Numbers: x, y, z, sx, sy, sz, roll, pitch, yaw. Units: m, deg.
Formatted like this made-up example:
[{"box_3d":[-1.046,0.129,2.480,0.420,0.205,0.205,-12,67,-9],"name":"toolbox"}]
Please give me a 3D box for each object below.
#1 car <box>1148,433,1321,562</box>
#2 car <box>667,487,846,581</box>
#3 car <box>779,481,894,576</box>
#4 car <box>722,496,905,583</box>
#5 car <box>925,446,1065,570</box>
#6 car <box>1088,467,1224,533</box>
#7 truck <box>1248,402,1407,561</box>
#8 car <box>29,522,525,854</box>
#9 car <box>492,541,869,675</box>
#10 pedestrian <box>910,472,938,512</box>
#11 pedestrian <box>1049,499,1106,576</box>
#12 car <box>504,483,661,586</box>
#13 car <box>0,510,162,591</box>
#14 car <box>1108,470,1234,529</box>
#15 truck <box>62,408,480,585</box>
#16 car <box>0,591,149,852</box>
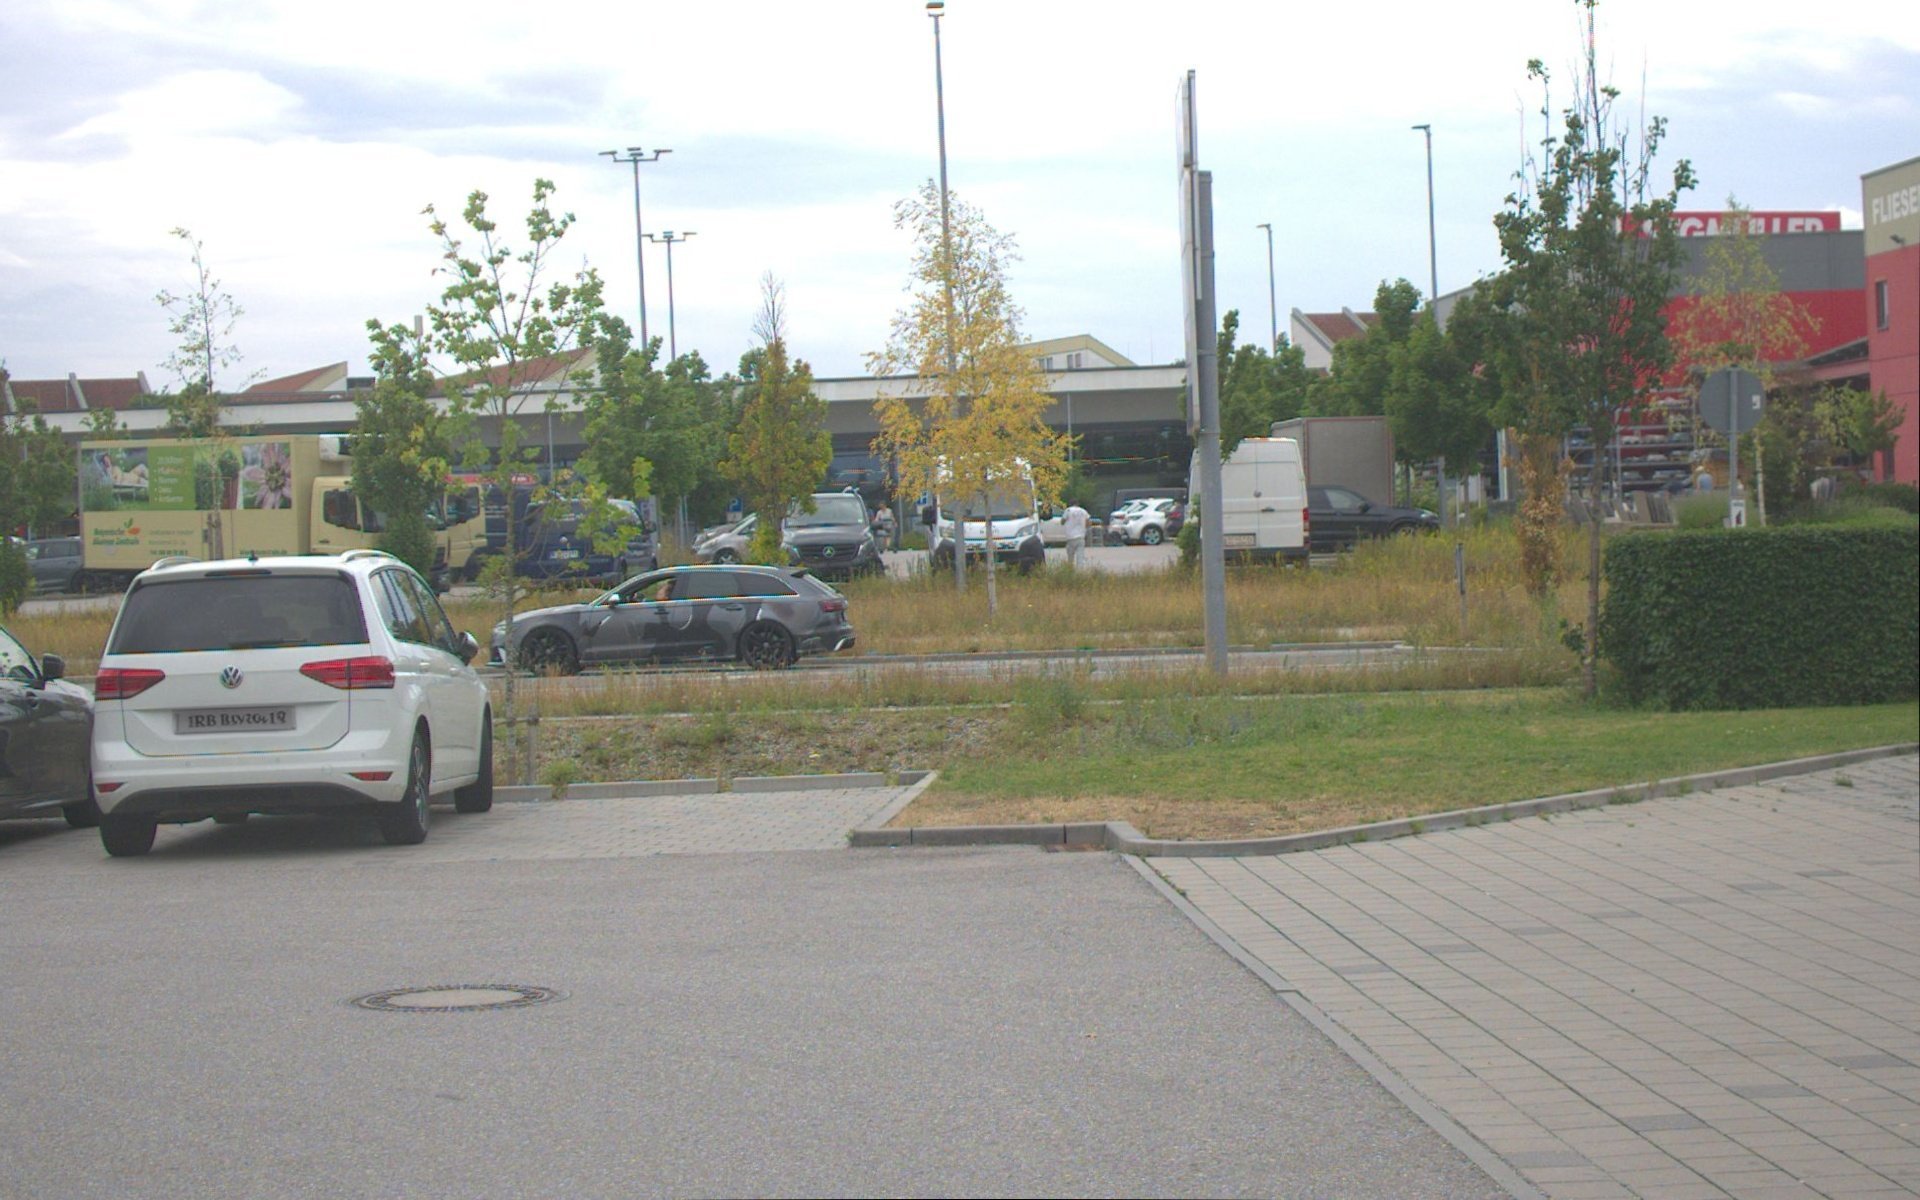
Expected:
[{"box_3d":[5.187,-2.013,65.909,2.337,2.259,6.508,-2,3,-4],"name":"car"},{"box_3d":[-4.817,-1.571,81.068,3.986,2.006,2.001,-3,3,-8],"name":"car"},{"box_3d":[-2.330,-1.403,65.711,2.071,1.633,5.071,-2,3,-1],"name":"car"},{"box_3d":[-3.257,-1.365,76.836,3.987,1.732,1.891,-2,3,-1],"name":"car"},{"box_3d":[0.613,-1.822,66.099,2.408,2.206,6.060,-2,3,-1],"name":"car"},{"box_3d":[5.919,-3.039,104.189,3.987,1.831,2.000,-2,3,2],"name":"car"},{"box_3d":[9.188,-3.053,86.892,2.648,3.730,8.258,-2,3,-3],"name":"truck"},{"box_3d":[-3.894,0.483,20.381,1.986,1.707,4.372,-2,0,1],"name":"car"},{"box_3d":[-3.717,0.092,46.314,4.838,1.546,1.802,-2,3,1],"name":"car"},{"box_3d":[-1.313,-3.955,125.365,0.651,1.424,0.798,-4,3,-38],"name":"pedestrian"},{"box_3d":[2.243,-1.201,65.945,0.975,1.424,0.788,-2,3,-3],"name":"pedestrian"},{"box_3d":[-7.256,-1.280,66.622,2.071,1.878,5.069,-1,1,4],"name":"car"},{"box_3d":[-21.771,-1.198,83.400,4.306,1.765,2.000,-2,3,-1],"name":"car"},{"box_3d":[6.911,-3.308,112.729,3.987,1.730,1.934,-2,3,2],"name":"car"},{"box_3d":[-13.564,-1.991,67.299,8.422,3.185,3.023,0,3,37],"name":"truck"},{"box_3d":[-6.342,0.711,20.330,1.941,1.461,4.516,-2,0,1],"name":"car"}]
